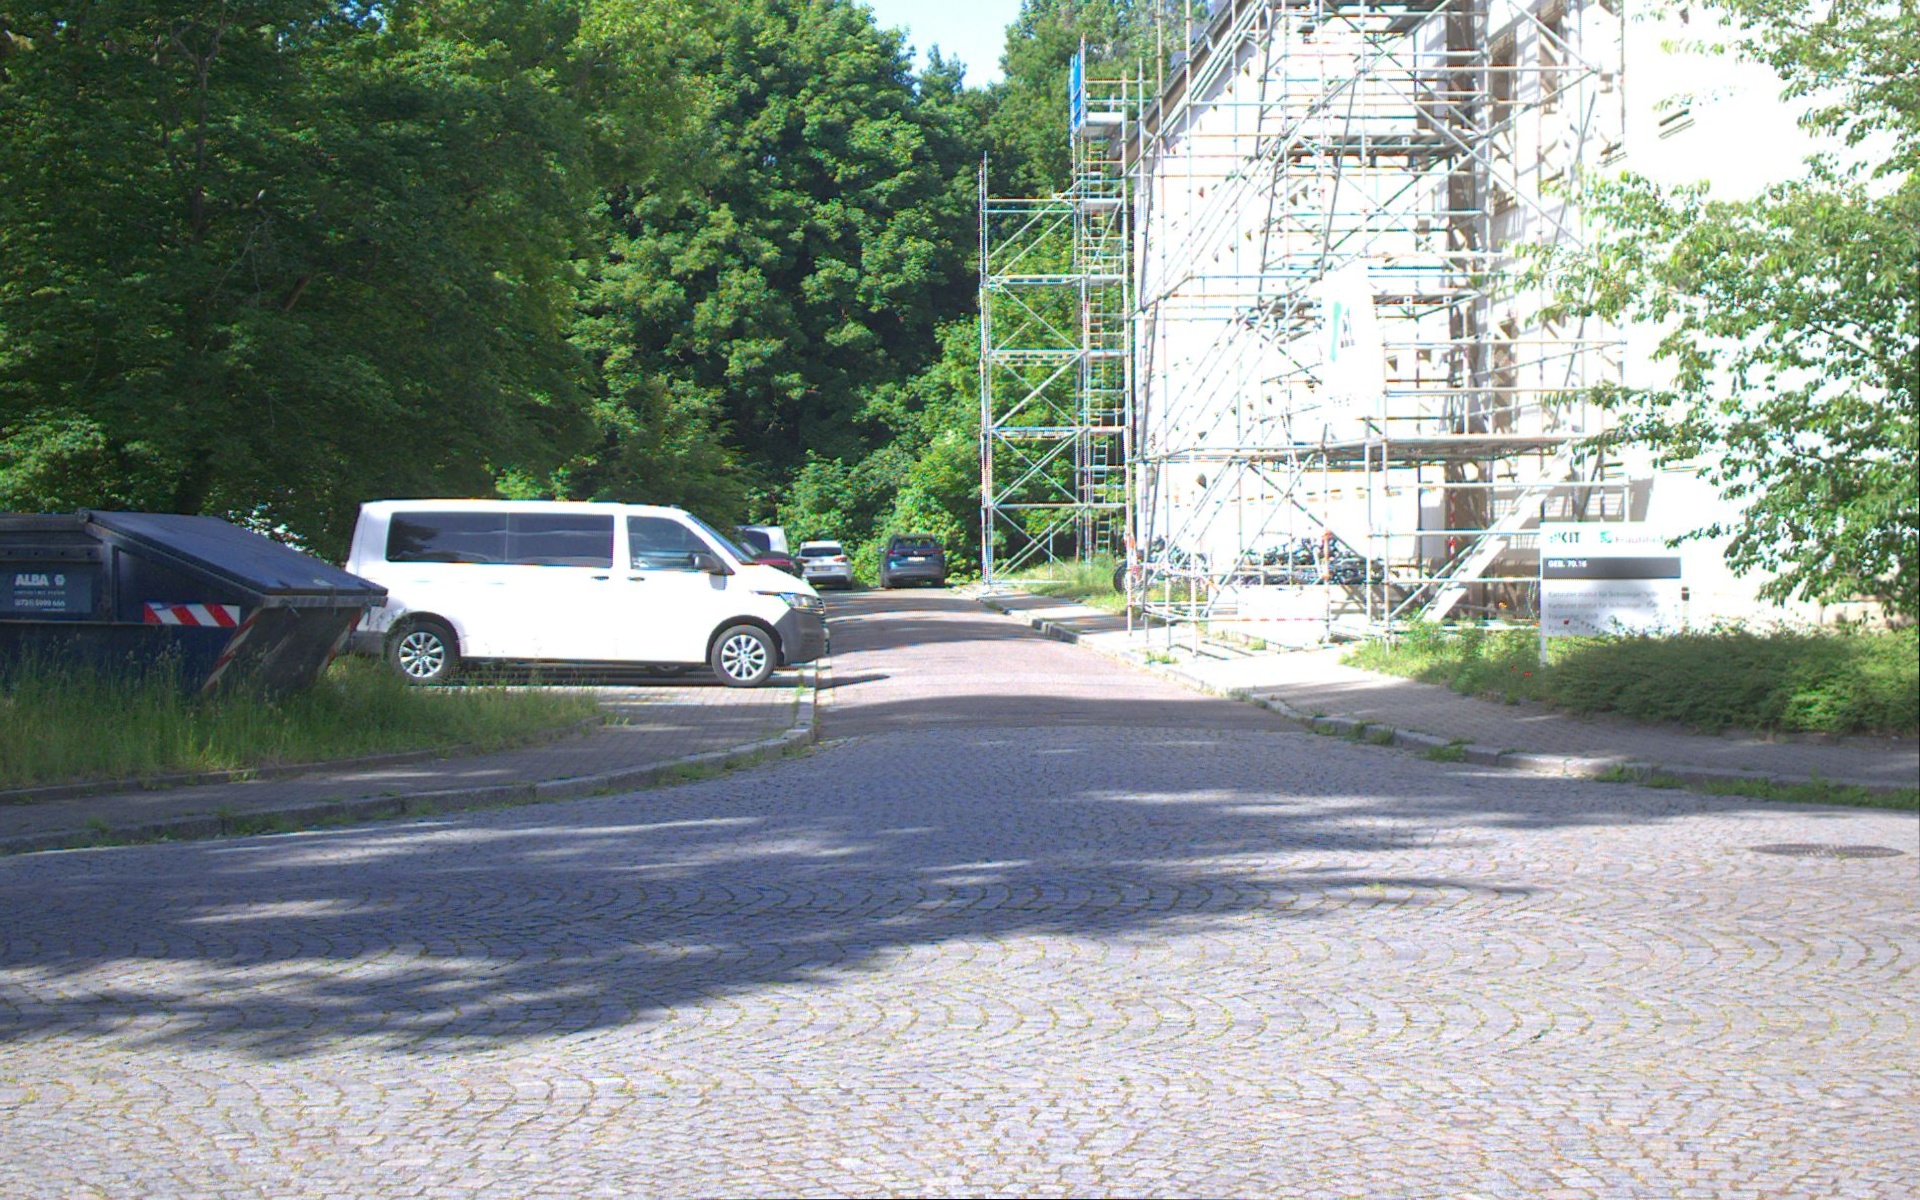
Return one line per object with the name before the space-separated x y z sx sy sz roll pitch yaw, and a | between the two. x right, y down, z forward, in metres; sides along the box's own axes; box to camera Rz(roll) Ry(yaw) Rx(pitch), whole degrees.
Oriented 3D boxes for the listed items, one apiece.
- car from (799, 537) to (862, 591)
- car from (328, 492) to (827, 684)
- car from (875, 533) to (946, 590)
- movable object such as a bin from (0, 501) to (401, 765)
car | -3.904 -1.093 103.288 1.812 1.574 4.135 -1 1 -3
car | -4.070 -0.147 37.233 5.234 2.009 1.950 0 1 -2
car | -1.513 -1.179 103.666 1.971 1.662 4.087 -1 1 -3
movable object such as a bin | -5.994 0.213 24.068 3.568 1.738 2.023 -1 1 17
